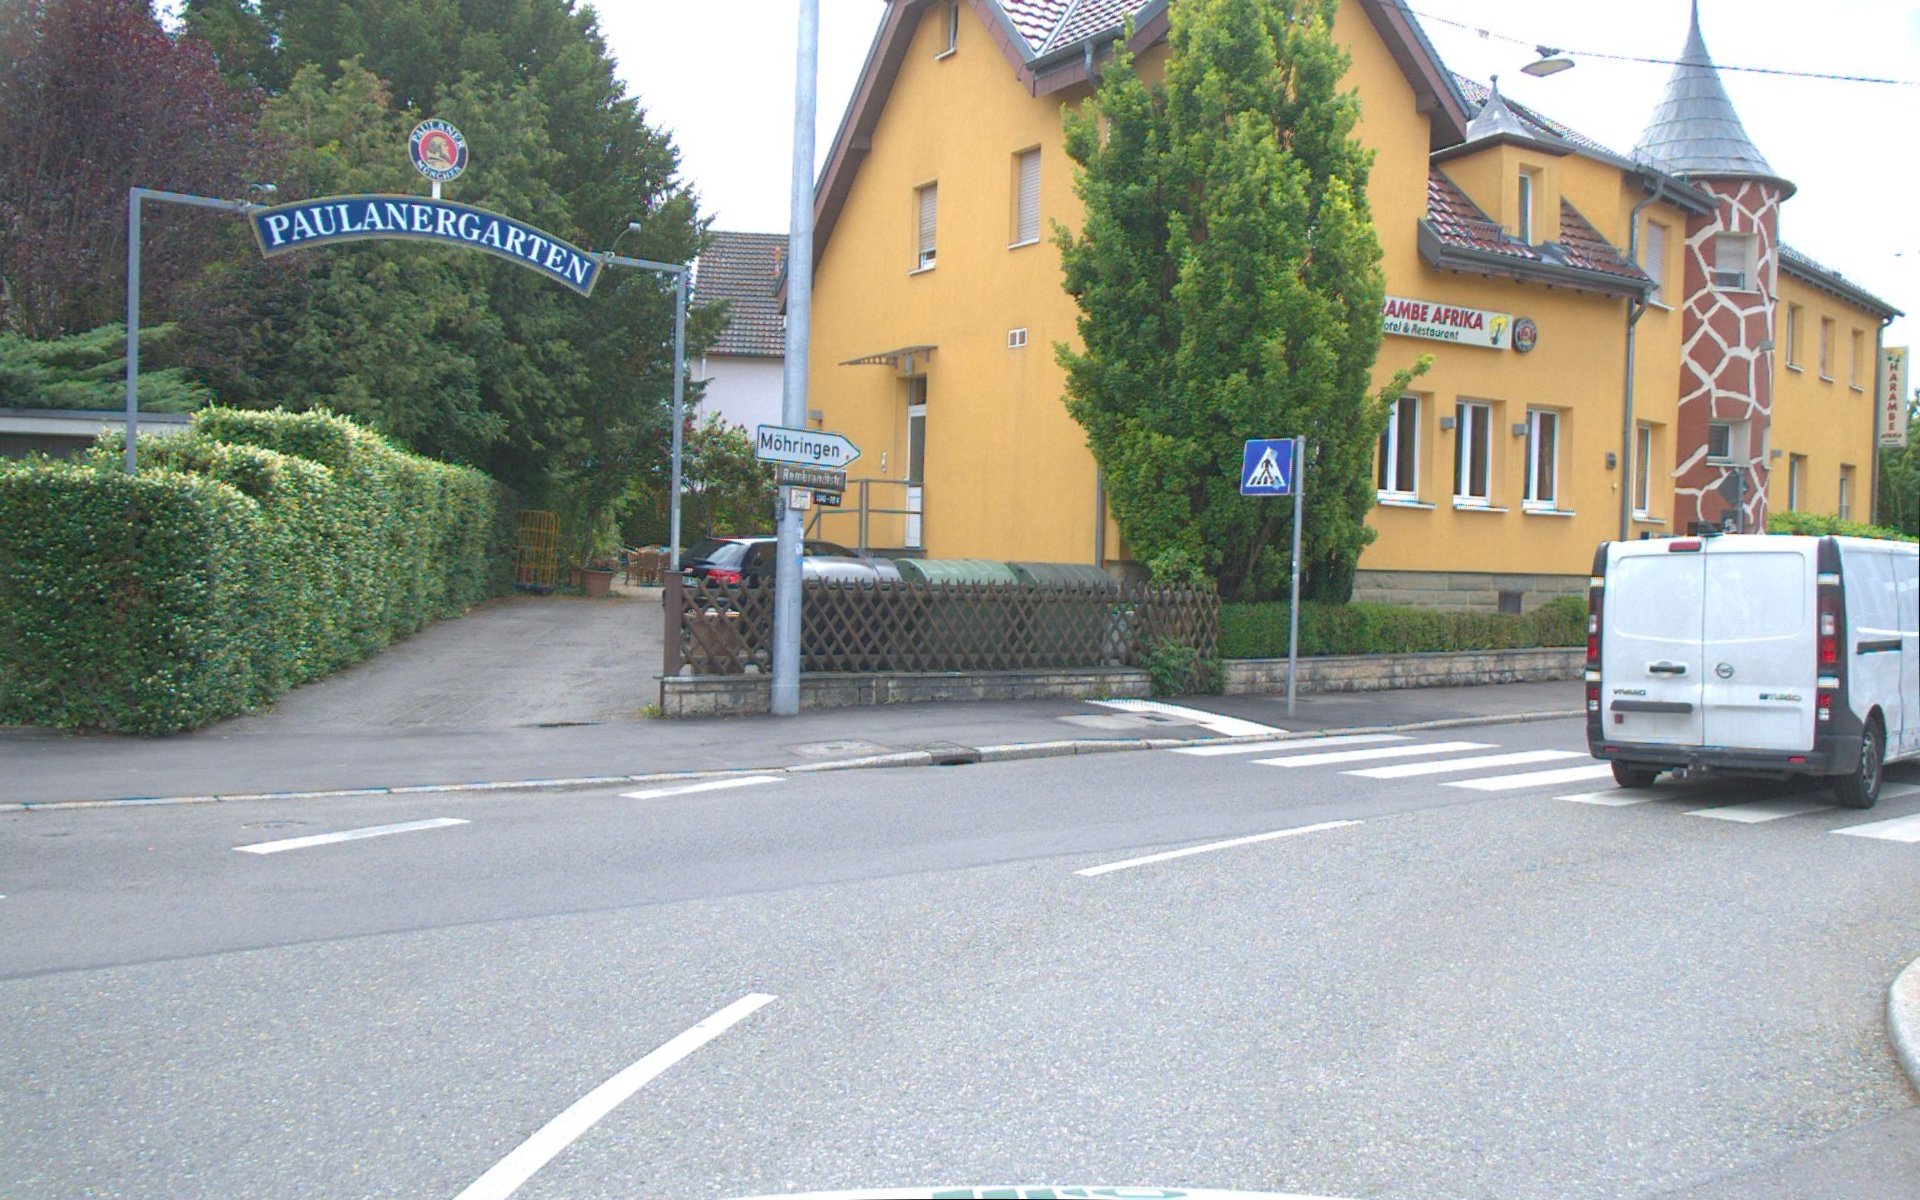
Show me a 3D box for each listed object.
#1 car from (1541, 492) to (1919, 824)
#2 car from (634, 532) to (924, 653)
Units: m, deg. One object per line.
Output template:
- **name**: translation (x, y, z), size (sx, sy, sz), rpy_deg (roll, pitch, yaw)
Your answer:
- **car**: translation (6.918, 0.327, 13.598), size (2.086, 2.171, 5.408), rpy_deg (4, 3, 42)
- **car**: translation (-2.457, -0.161, 22.786), size (3.644, 1.451, 1.703), rpy_deg (-2, 6, -40)
